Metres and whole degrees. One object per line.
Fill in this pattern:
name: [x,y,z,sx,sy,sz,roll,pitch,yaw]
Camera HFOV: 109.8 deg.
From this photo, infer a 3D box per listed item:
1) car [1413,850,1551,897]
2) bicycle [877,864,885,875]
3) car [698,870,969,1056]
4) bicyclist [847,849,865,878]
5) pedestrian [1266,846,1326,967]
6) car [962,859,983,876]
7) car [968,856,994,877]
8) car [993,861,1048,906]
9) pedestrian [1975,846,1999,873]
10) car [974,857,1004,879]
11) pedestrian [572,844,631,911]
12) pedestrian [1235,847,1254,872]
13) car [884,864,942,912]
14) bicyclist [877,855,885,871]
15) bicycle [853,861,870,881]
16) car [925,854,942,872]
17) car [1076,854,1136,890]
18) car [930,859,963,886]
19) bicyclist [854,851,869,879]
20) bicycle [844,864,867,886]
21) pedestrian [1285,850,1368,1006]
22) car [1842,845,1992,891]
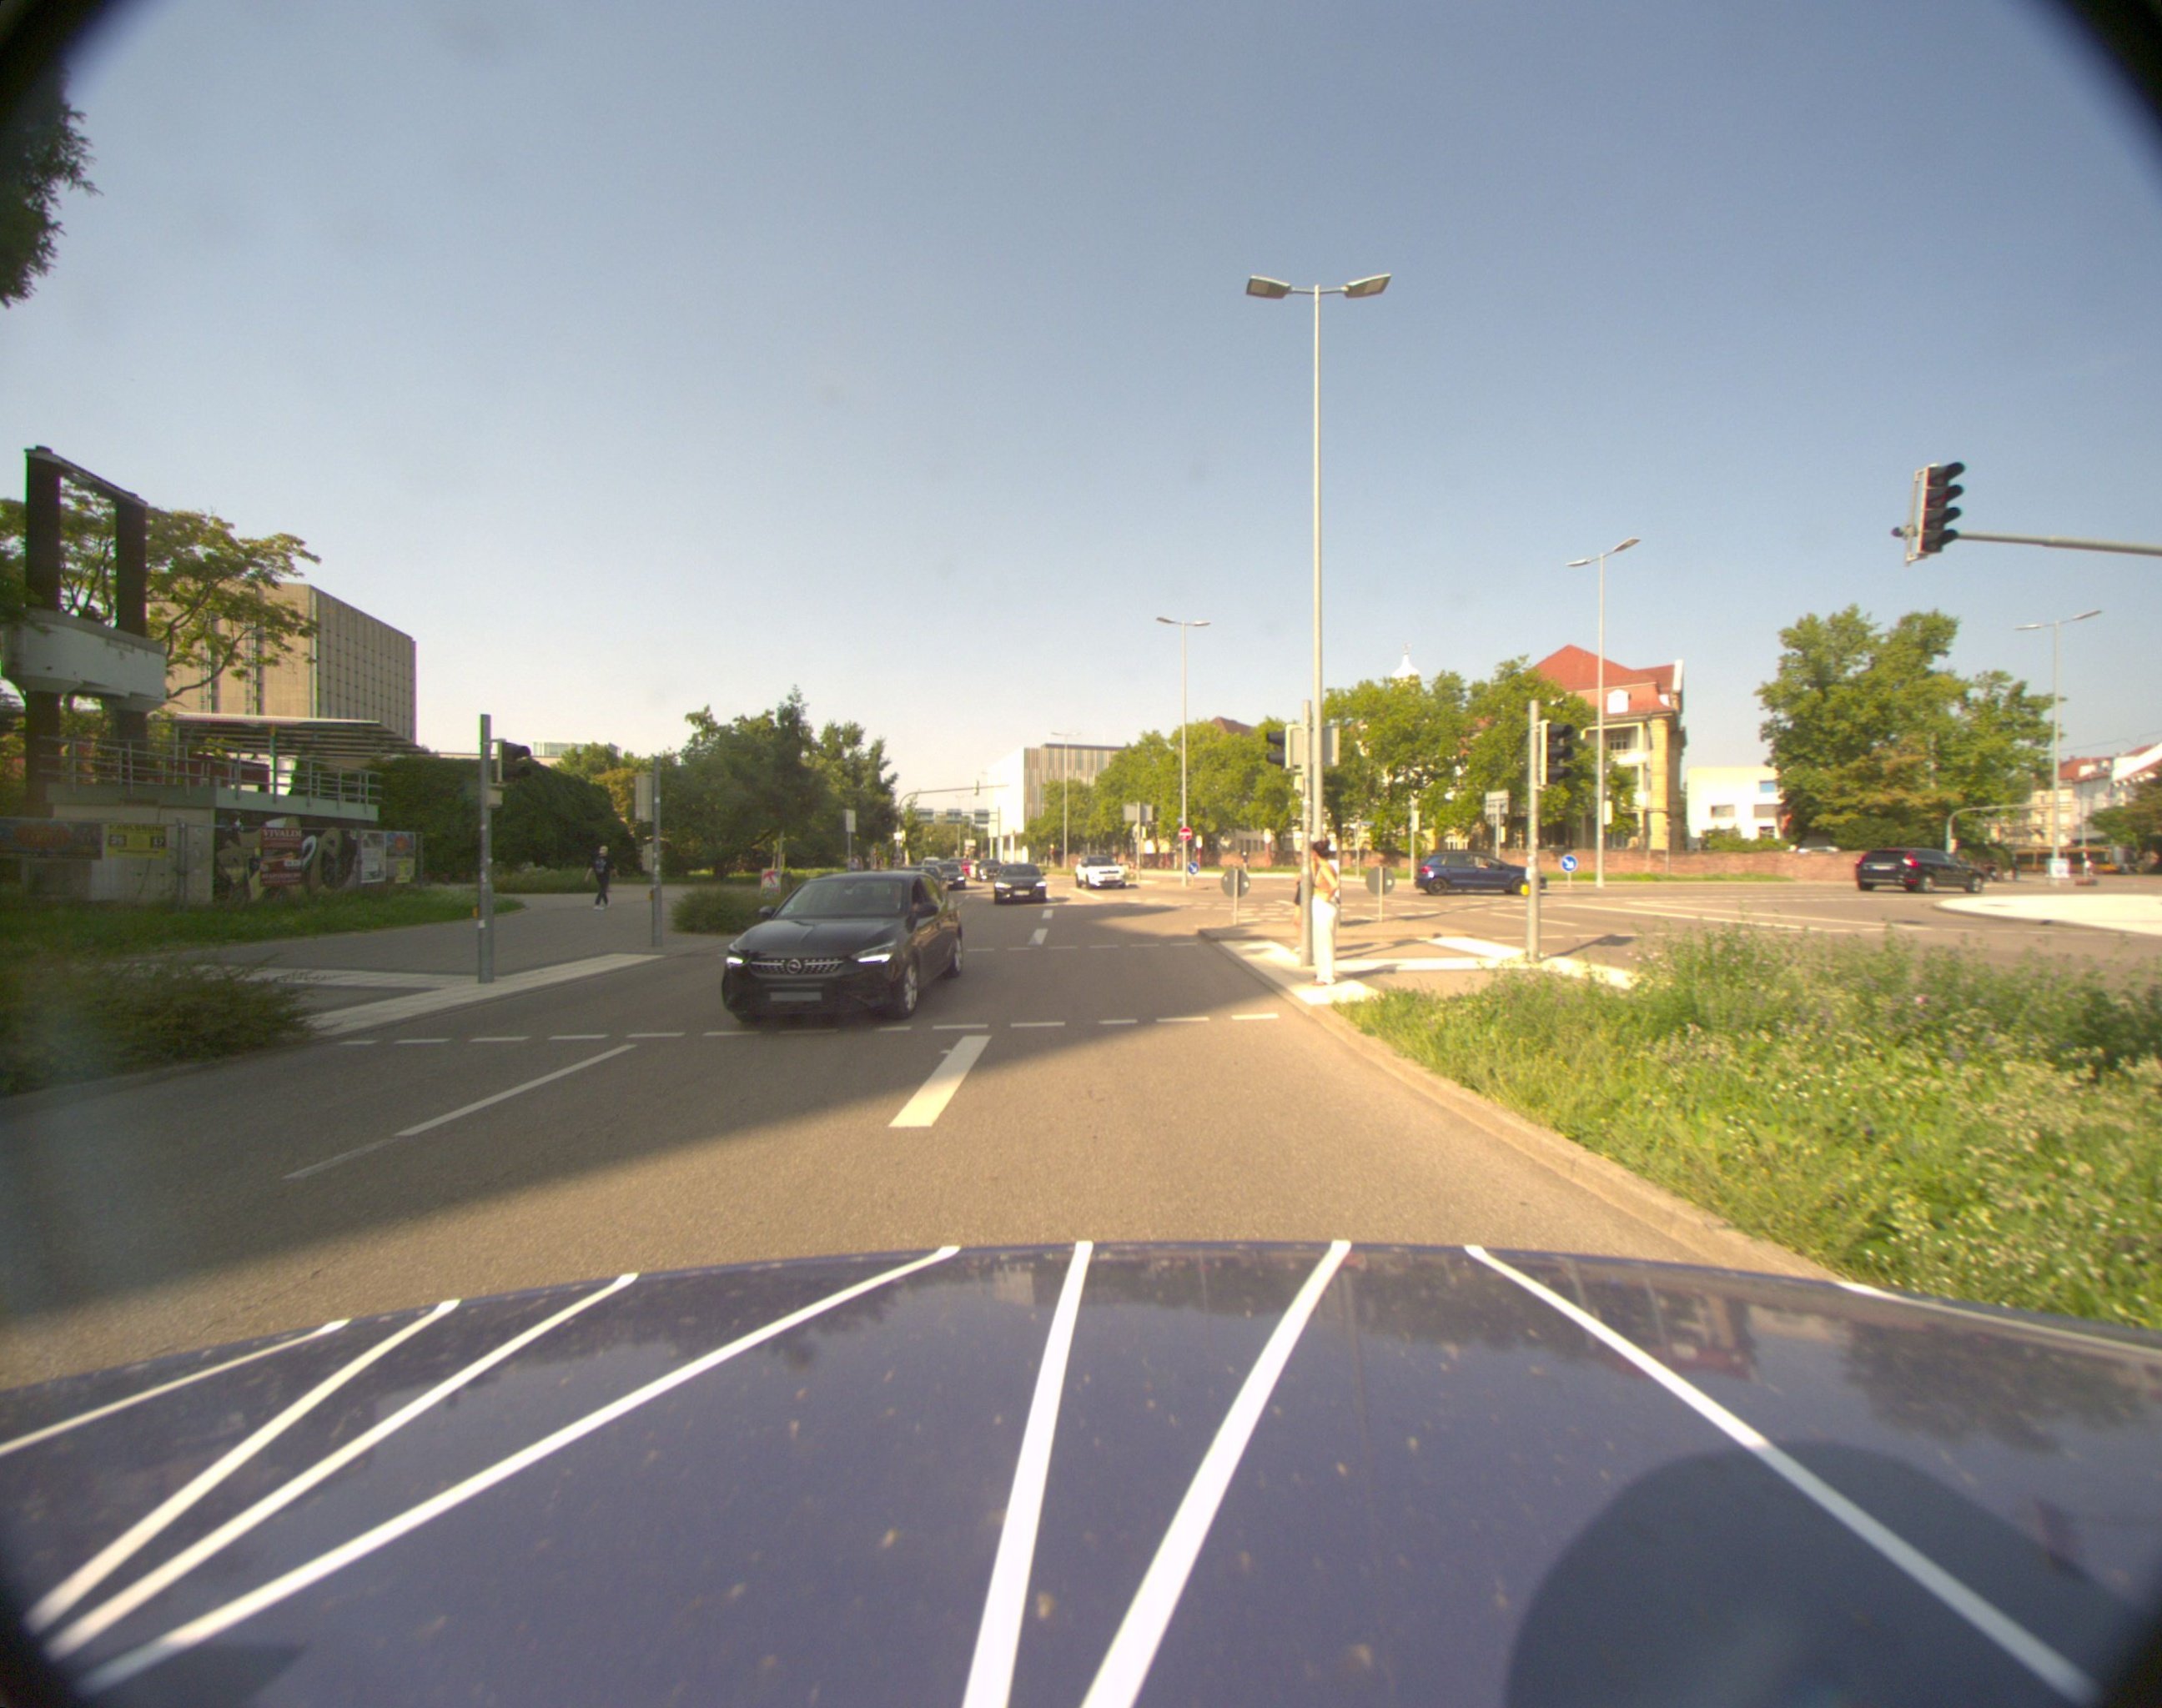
car: [13.212,0.611,25.260,3.841,1.489,1.628,0,0,19]
bicycle: [-20.180,1.580,76.730,0.774,1.111,2.300,-1,0,-14]
car: [-2.466,0.990,8.790,1.687,1.483,4.372,-2,0,0]
bicyclist: [-12.176,0.503,41.120,0.773,1.583,0.923,0,0,-6]
pedestrian: [3.102,0.740,10.993,0.668,1.689,0.691,0,0,0]
car: [-10.327,1.253,72.343,1.689,1.483,4.367,0,0,-12]
car: [-8.213,0.988,62.171,1.784,1.596,4.416,0,0,-12]
car: [-2.297,1.007,27.757,1.838,1.427,4.547,-1,0,-7]
pedestrian: [69.032,0.395,57.897,0.817,2.002,0.821,-3,1,-12]
car: [-6.537,0.983,53.562,1.689,1.483,4.367,0,0,-12]
pedestrian: [-13.119,0.636,20.821,0.960,1.772,1.002,2,0,-2]
pedestrian: [13.219,0.412,61.544,1.079,2.002,1.317,-1,1,-9]
car: [-5.791,1.105,26.543,1.688,1.434,4.368,-2,0,-9]
bicyclist: [-20.176,0.906,76.656,0.774,1.666,0.923,-1,1,-15]
bicycle: [-12.634,0.961,43.803,0.774,1.111,2.301,-1,0,-11]
car: [-16.469,1.002,84.690,1.689,1.930,4.366,0,0,-15]
car: [1.144,0.852,37.677,2.000,1.624,4.368,-3,0,-11]
car: [-7.949,1.057,44.667,1.689,1.483,4.668,0,0,-12]
bicyclist: [-12.621,0.610,43.701,0.774,1.583,0.923,-1,1,-12]
bicycle: [-12.162,1.117,40.974,0.773,1.111,2.302,0,0,-6]
pedestrian: [2.741,0.778,8.469,0.667,1.644,0.781,0,0,36]
car: [31.309,0.500,28.491,4.375,1.624,1.997,0,0,-15]
